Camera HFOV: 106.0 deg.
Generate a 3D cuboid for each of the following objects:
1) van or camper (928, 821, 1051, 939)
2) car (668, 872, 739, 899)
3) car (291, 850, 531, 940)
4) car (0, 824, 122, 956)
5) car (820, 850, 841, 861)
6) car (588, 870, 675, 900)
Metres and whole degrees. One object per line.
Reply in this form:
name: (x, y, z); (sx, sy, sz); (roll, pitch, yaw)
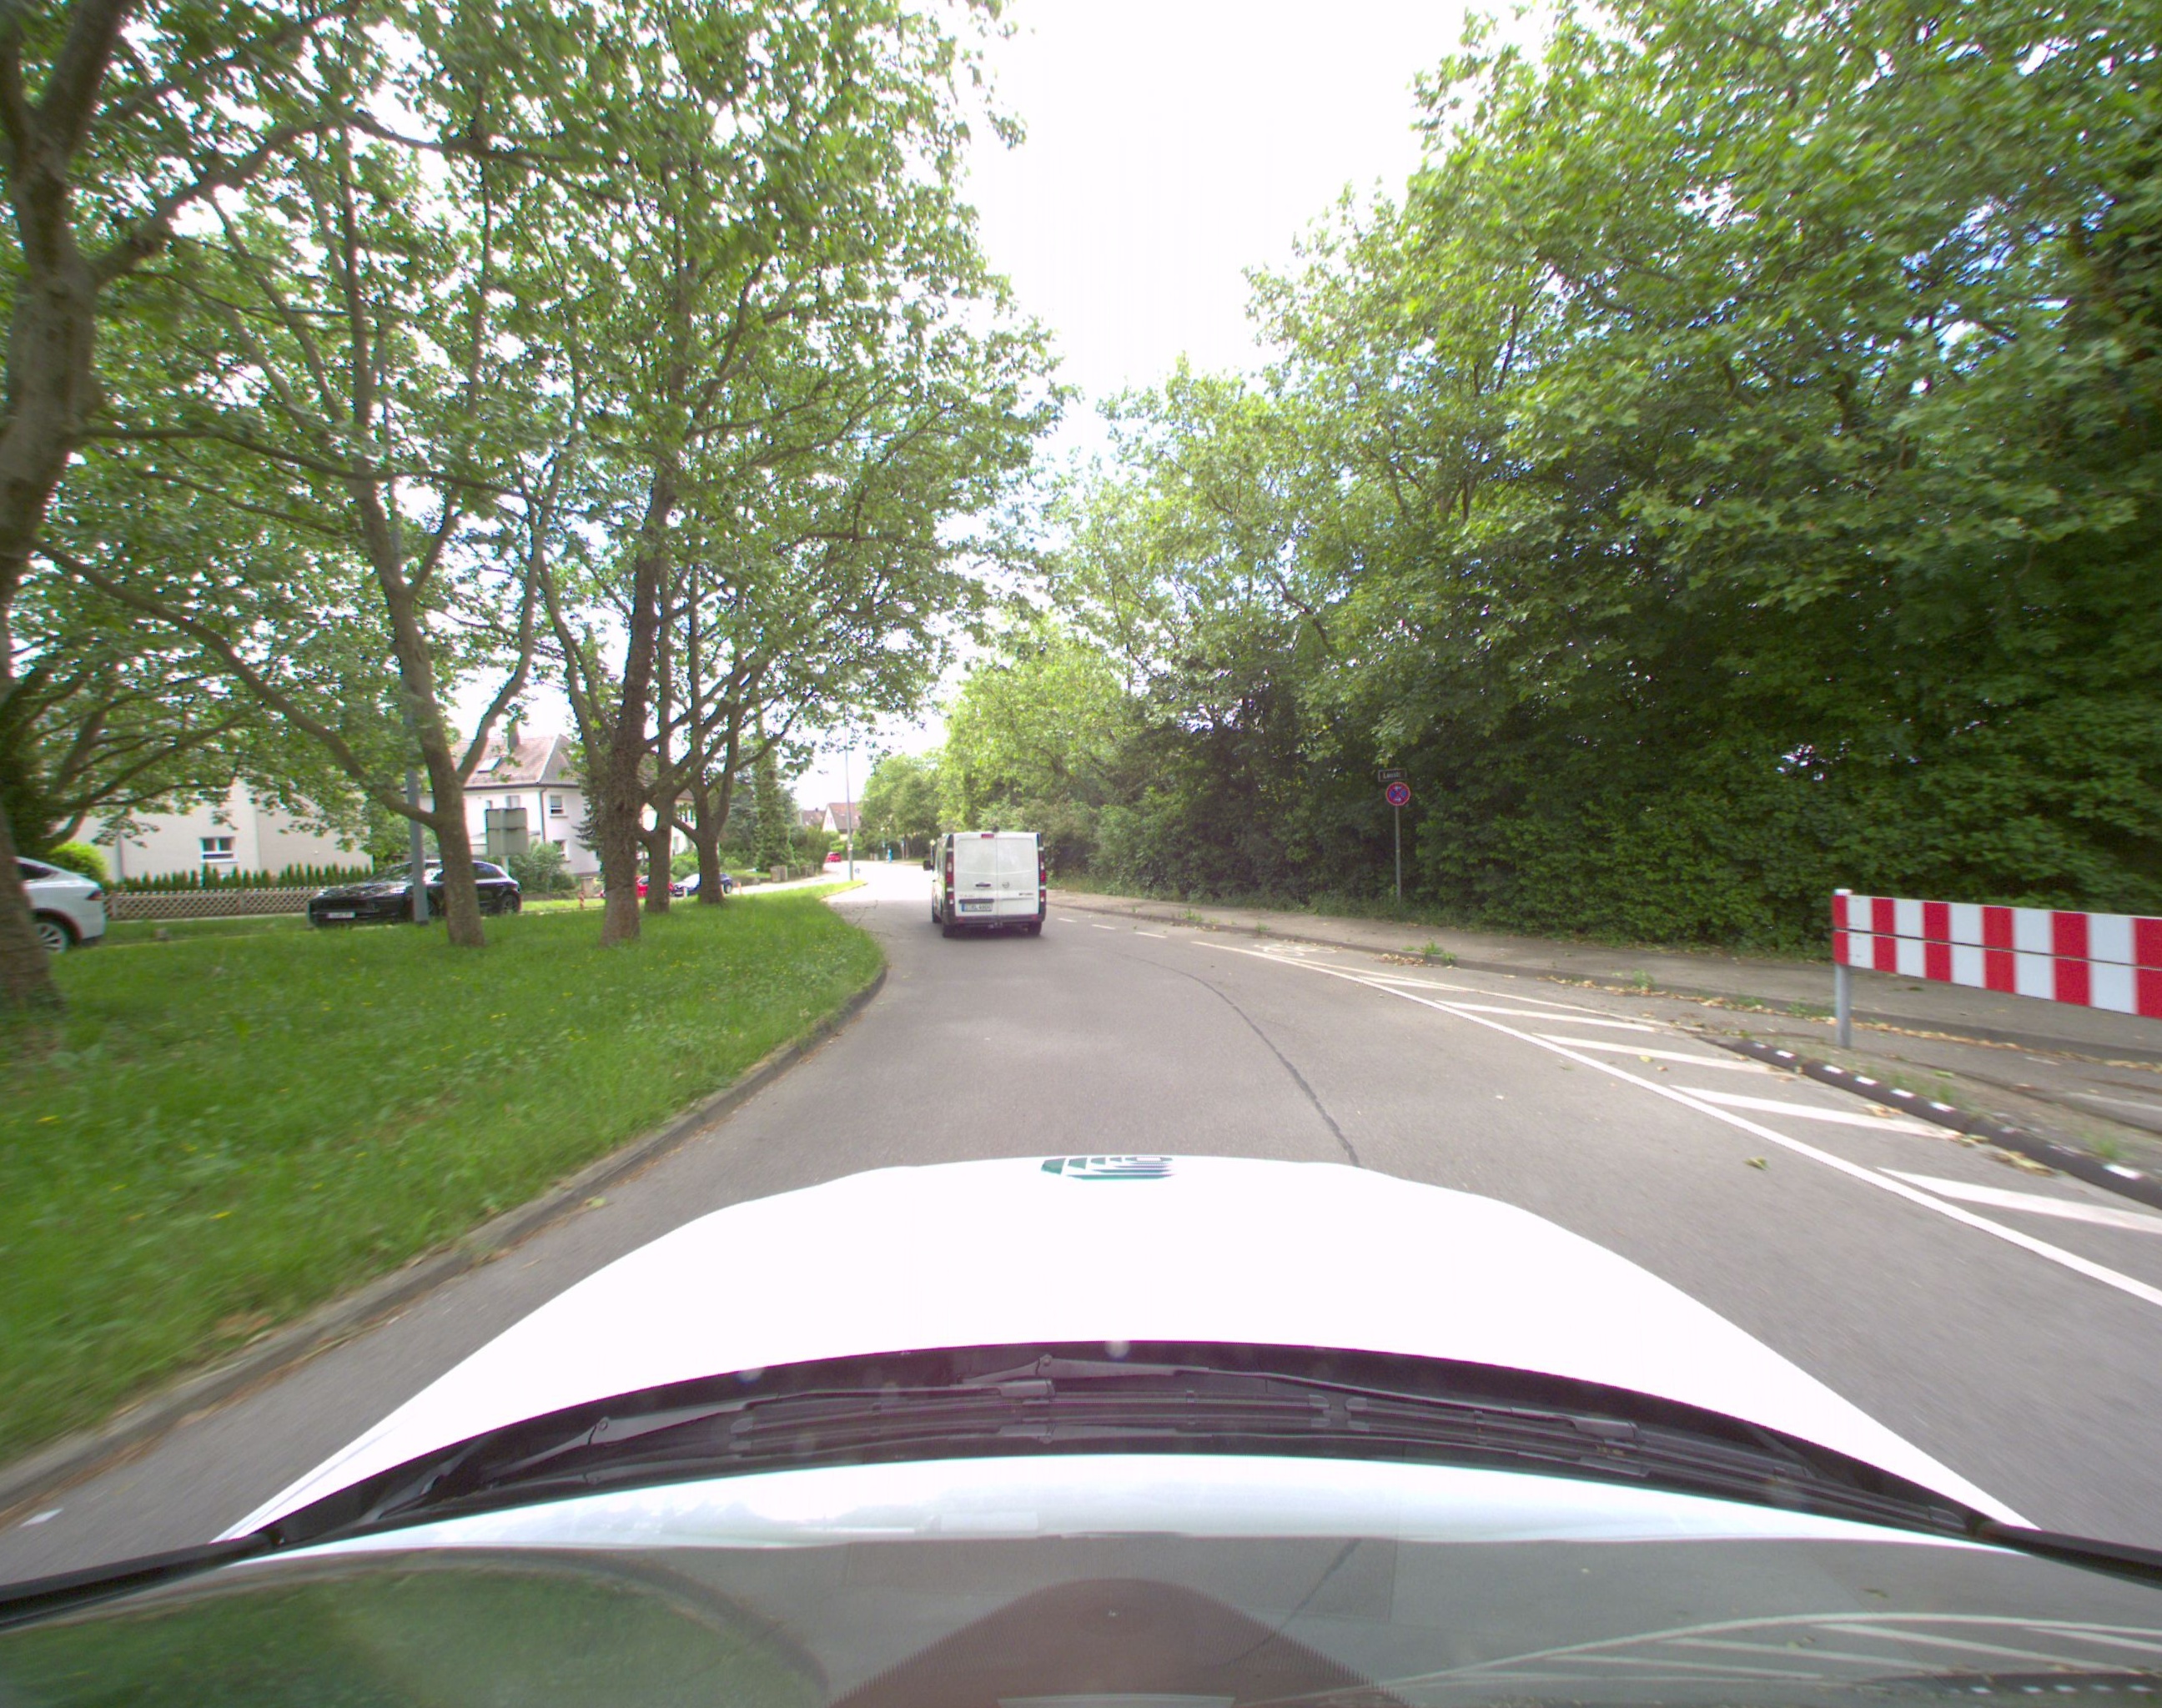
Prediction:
van or camper: (-2.028, 0.358, 16.655); (1.926, 2.013, 4.808); (-2, 2, -13)
car: (-23.943, 1.972, 51.824); (1.715, 1.473, 4.330); (-2, 0, 13)
car: (-14.871, 0.812, 18.512); (1.753, 1.591, 4.608); (-1, 2, -3)
car: (-14.571, 0.525, 9.154); (1.847, 1.658, 4.901); (-1, 2, -4)
car: (-42.687, 0.310, 138.522); (1.775, 1.797, 4.893); (-3, 2, -37)
car: (-25.792, 1.771, 46.917); (1.713, 1.473, 4.299); (-2, 0, 18)
